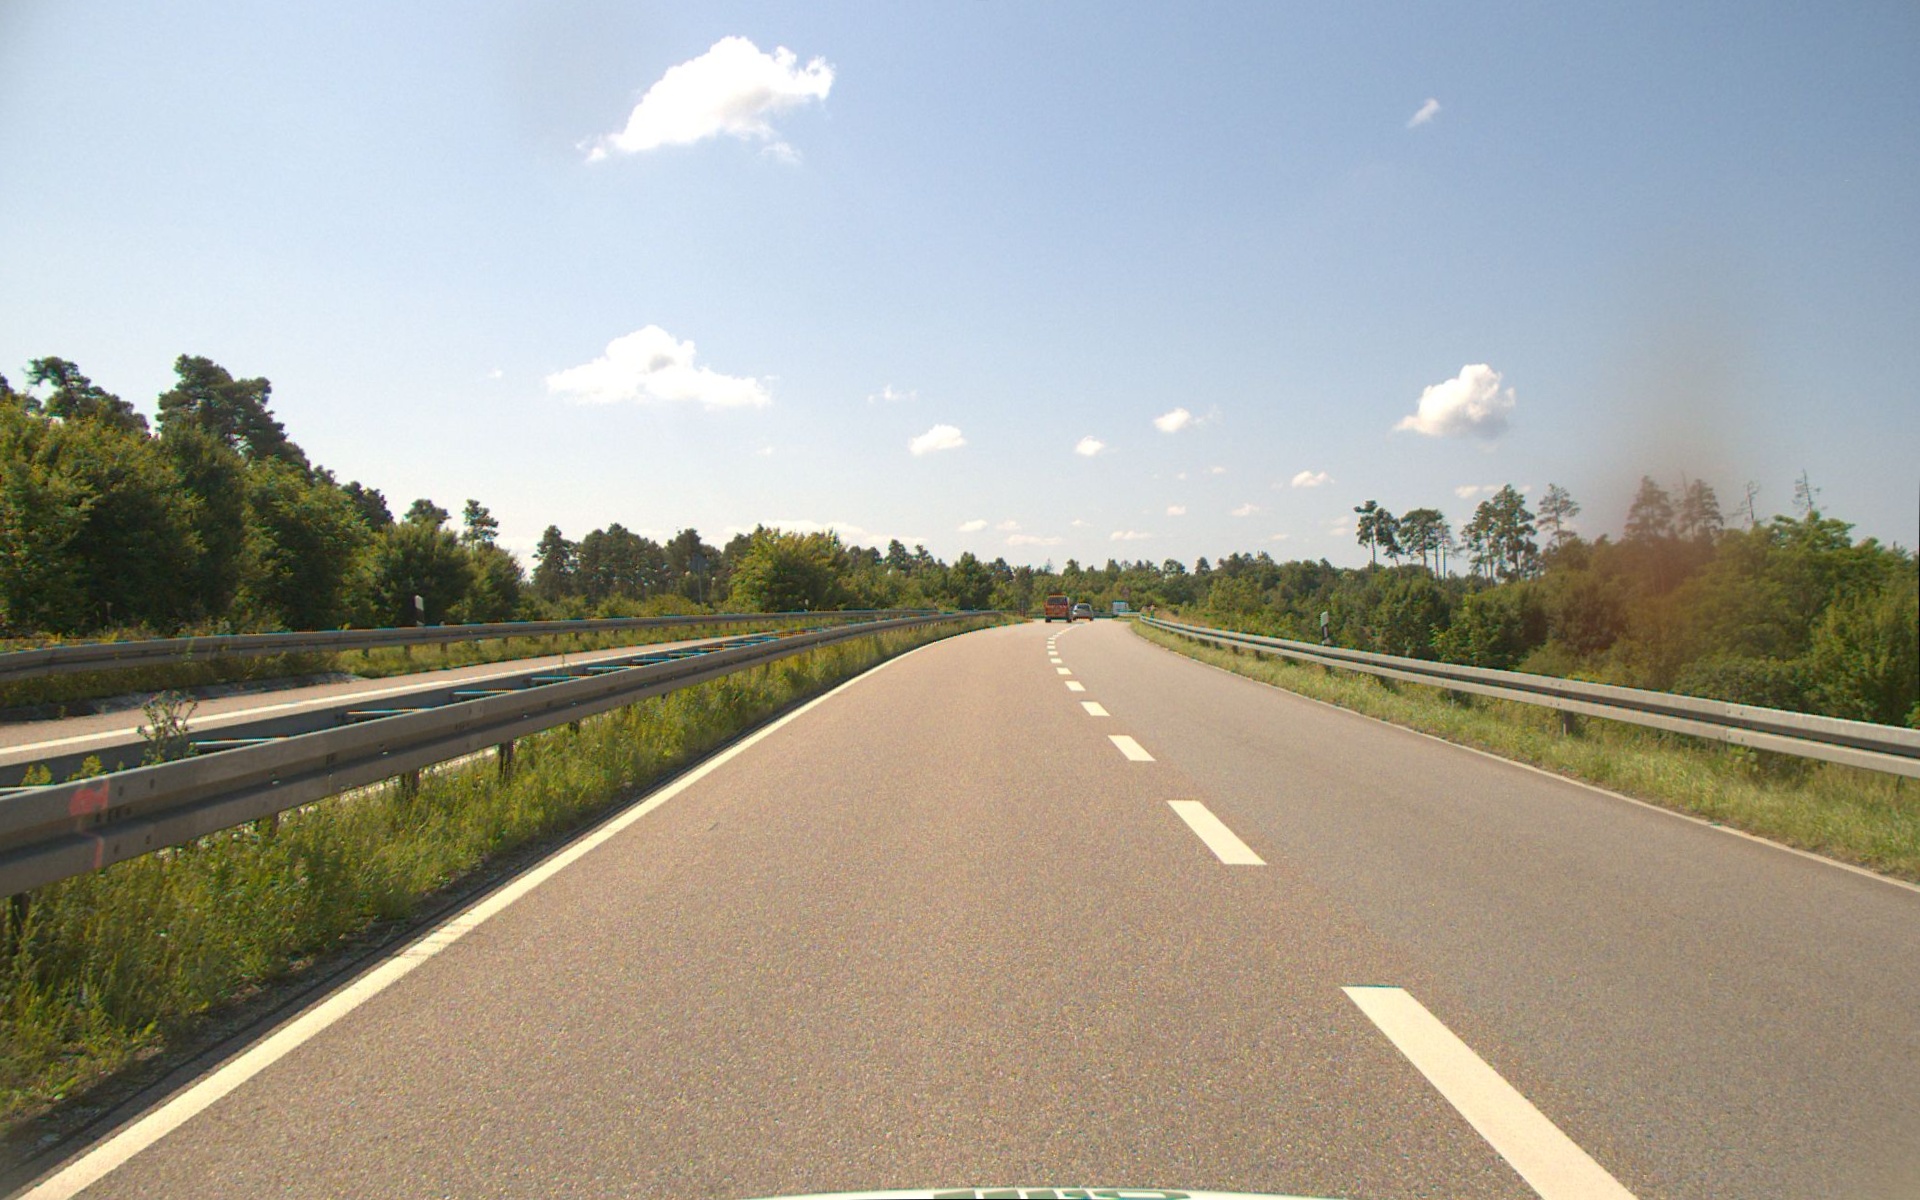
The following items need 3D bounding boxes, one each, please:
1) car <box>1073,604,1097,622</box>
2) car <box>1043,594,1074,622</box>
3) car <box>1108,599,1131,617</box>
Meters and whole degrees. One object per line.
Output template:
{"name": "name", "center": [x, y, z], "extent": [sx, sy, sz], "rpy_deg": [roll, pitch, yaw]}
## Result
{"name": "car", "center": [11.094, 1.171, 146.361], "extent": [1.965, 1.520, 4.241], "rpy_deg": [1, -1, 7]}
{"name": "car", "center": [7.463, 0.613, 124.842], "extent": [2.033, 2.028, 5.115], "rpy_deg": [1, -1, 7]}
{"name": "car", "center": [19.165, 0.991, 198.785], "extent": [2.138, 1.989, 5.808], "rpy_deg": [1, -1, 12]}
